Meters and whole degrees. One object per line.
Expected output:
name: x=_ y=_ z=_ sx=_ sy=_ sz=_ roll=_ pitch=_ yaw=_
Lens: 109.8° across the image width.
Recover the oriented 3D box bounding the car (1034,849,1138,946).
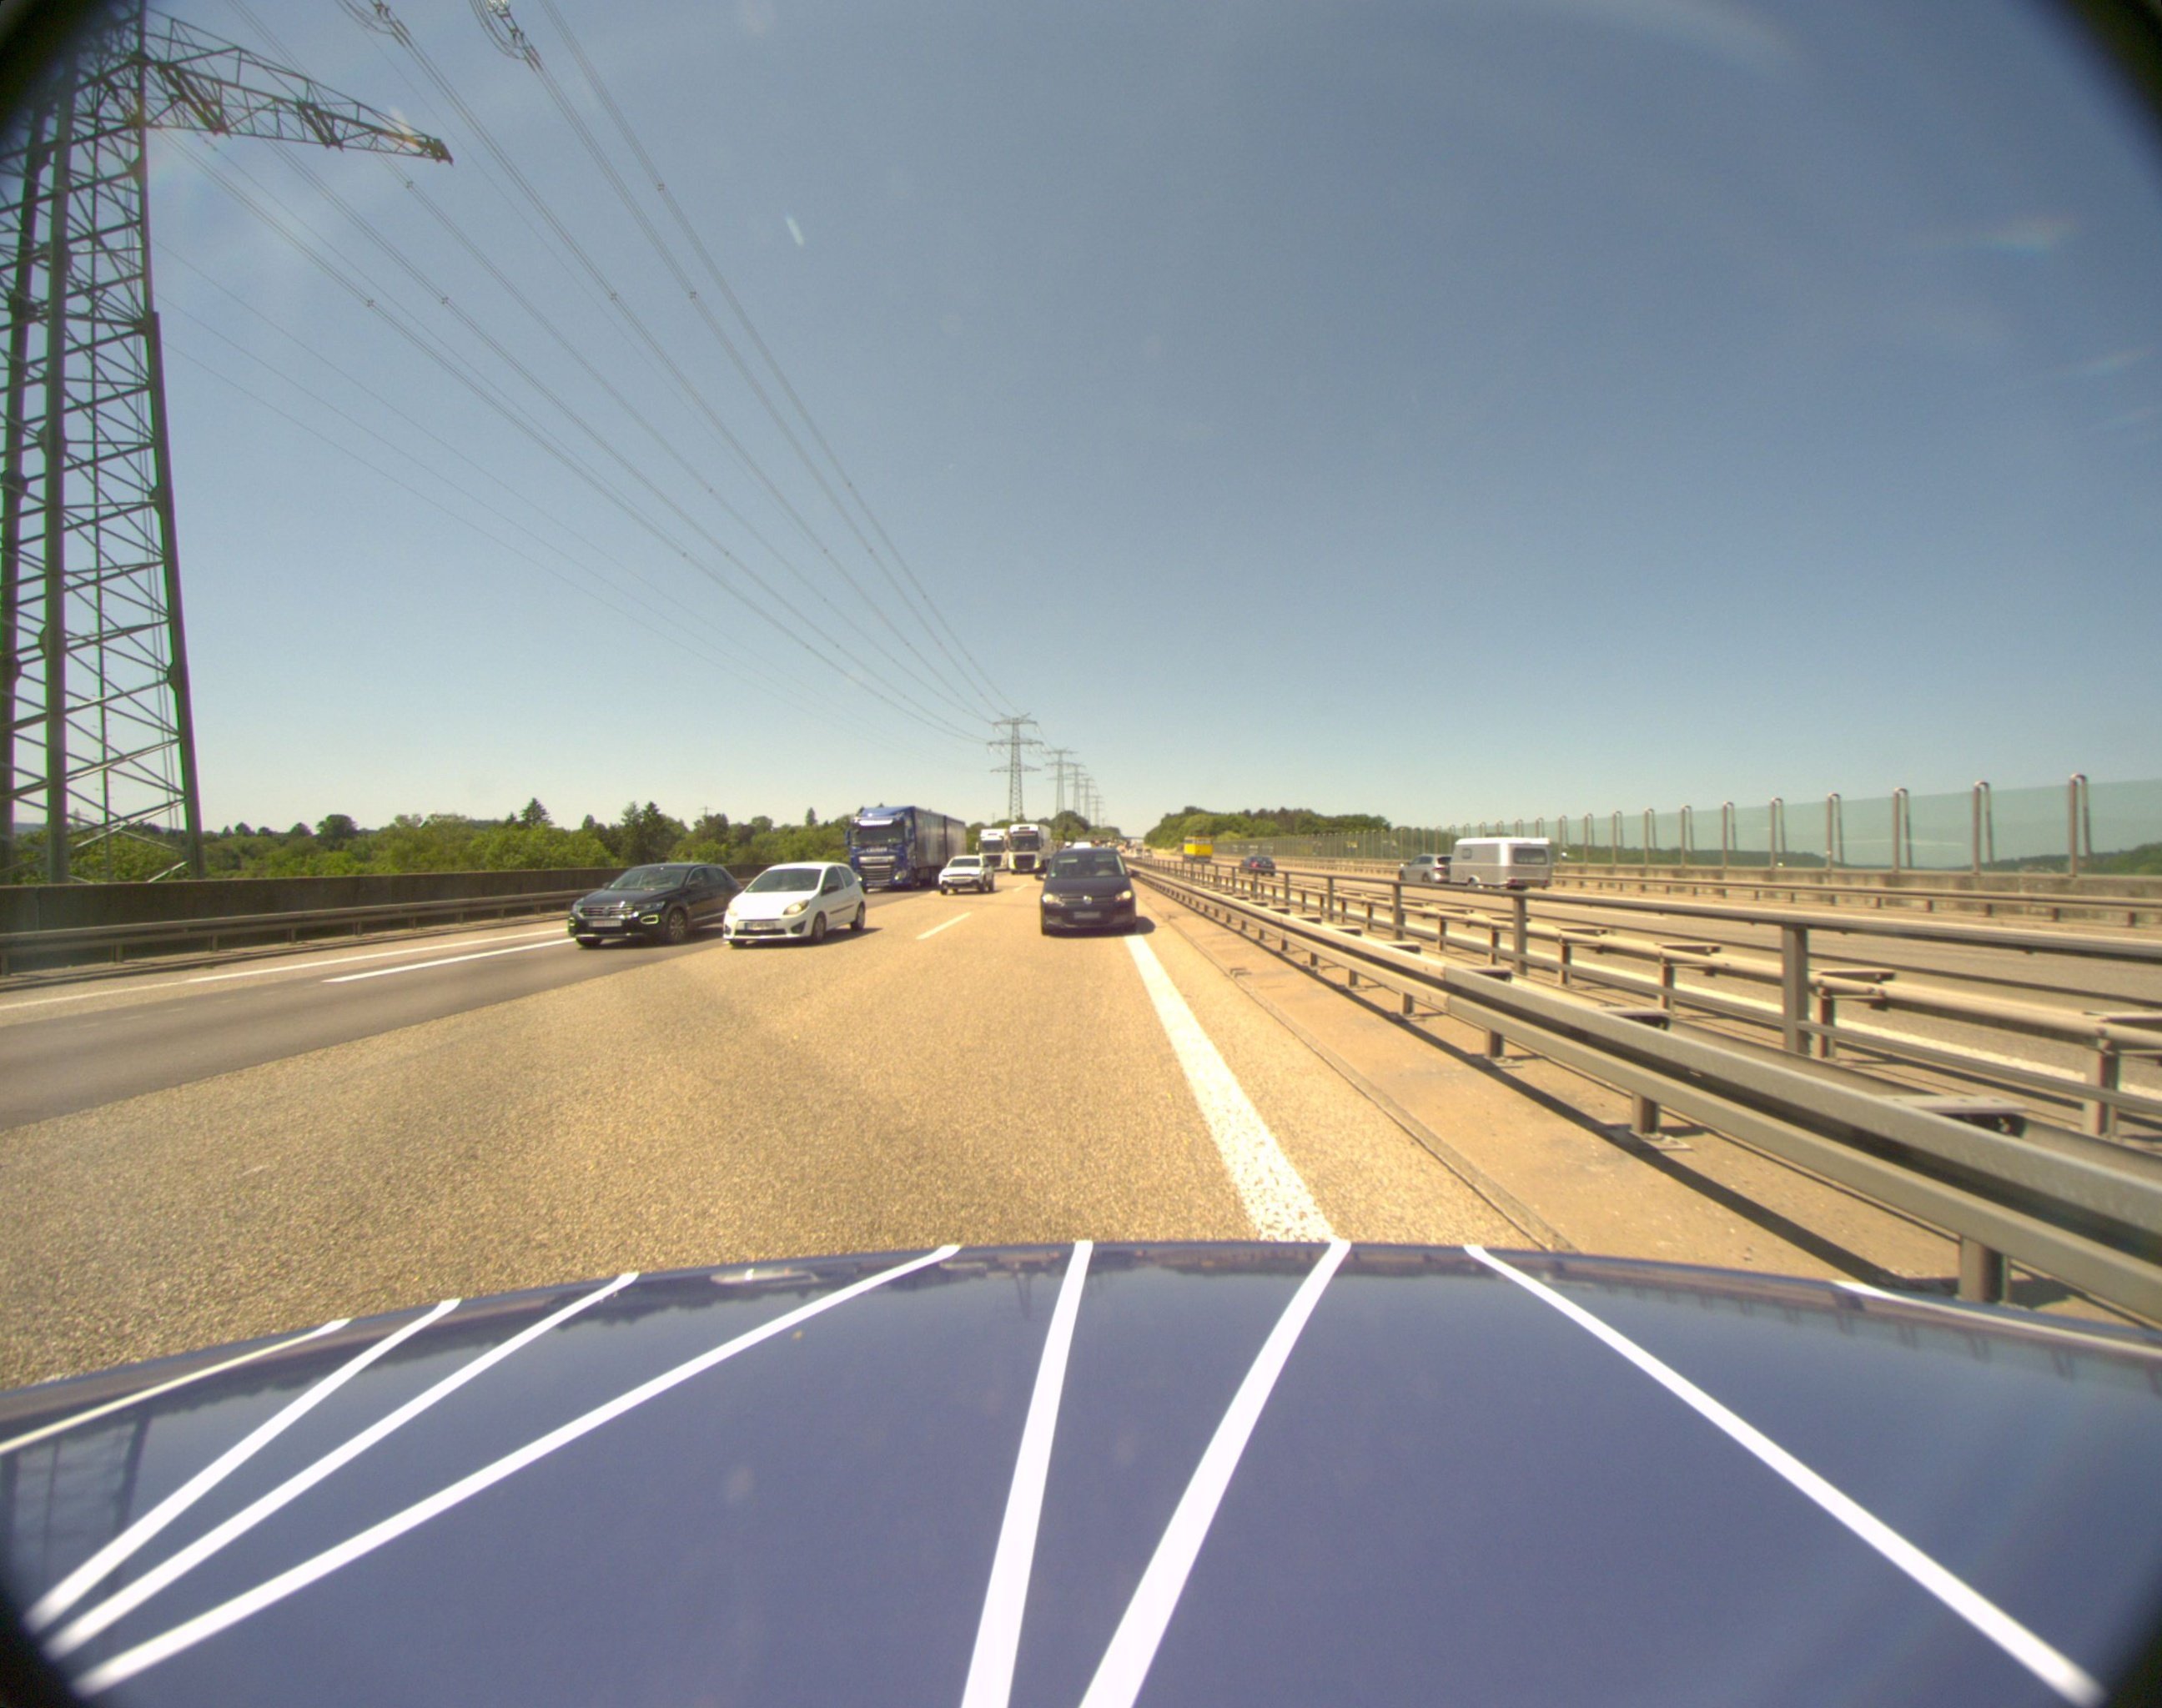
car: x=0.083 y=0.725 z=14.920 sx=1.739 sy=1.607 sz=3.911 roll=-2 pitch=0 yaw=0

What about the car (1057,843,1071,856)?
car: x=-2.654 y=-0.692 z=121.391 sx=1.998 sy=2.002 sz=3.999 roll=-2 pitch=1 yaw=1

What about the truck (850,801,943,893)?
truck: x=-8.756 y=-0.316 z=37.084 sx=2.517 sy=3.945 sz=7.926 roll=-2 pitch=0 yaw=0

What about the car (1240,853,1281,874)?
car: x=12.620 y=0.608 z=53.705 sx=1.860 sy=1.389 sz=4.675 roll=0 pitch=0 yaw=1

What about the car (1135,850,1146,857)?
car: x=11.631 y=-0.125 z=148.170 sx=1.762 sy=1.440 sz=4.286 roll=1 pitch=1 yaw=0

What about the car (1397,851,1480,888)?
car: x=16.689 y=0.697 z=35.749 sx=1.860 sy=1.536 sz=4.199 roll=1 pitch=1 yaw=0

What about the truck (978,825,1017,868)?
truck: x=-8.008 y=-0.747 z=73.426 sx=2.914 sy=3.870 sz=6.739 roll=-2 pitch=1 yaw=0

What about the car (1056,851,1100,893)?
car: x=-0.131 y=0.690 z=31.757 sx=1.685 sy=1.607 sz=3.642 roll=-2 pitch=0 yaw=0

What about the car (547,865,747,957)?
car: x=-8.448 y=1.027 z=15.244 sx=1.709 sy=1.497 sz=3.888 roll=-2 pitch=0 yaw=0

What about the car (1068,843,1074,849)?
car: x=-3.155 y=-2.499 z=235.227 sx=1.701 sy=1.599 sz=3.639 roll=-2 pitch=1 yaw=1

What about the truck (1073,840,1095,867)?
truck: x=0.353 y=-0.084 z=80.546 sx=2.100 sy=2.700 sz=5.864 roll=-2 pitch=1 yaw=1

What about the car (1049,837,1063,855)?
car: x=-4.708 y=-1.623 z=145.072 sx=2.273 sy=3.304 sz=6.288 roll=-2 pitch=1 yaw=0

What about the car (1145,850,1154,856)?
car: x=15.720 y=-0.287 z=174.866 sx=1.767 sy=1.374 sz=4.078 roll=1 pitch=0 yaw=0

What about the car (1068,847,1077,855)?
car: x=-1.641 y=-0.587 z=153.677 sx=1.701 sy=1.599 sz=3.639 roll=-2 pitch=1 yaw=1

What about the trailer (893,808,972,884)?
trailer: x=-8.803 y=-0.520 z=46.487 sx=2.543 sy=3.971 sz=10.883 roll=-2 pitch=1 yaw=0

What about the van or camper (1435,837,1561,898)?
van or camper: x=16.686 y=0.451 z=30.810 sx=1.999 sy=2.199 sz=5.536 roll=1 pitch=1 yaw=0

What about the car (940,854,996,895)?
car: x=-4.589 y=0.806 z=31.431 sx=1.722 sy=1.526 sz=3.753 roll=-2 pitch=0 yaw=0

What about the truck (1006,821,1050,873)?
truck: x=-4.215 y=-0.615 z=61.900 sx=2.914 sy=3.870 sz=6.739 roll=-2 pitch=1 yaw=0

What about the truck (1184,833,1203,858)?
truck: x=18.484 y=-1.437 z=125.450 sx=2.420 sy=4.035 sz=5.542 roll=1 pitch=1 yaw=1

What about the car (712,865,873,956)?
car: x=-5.410 y=0.987 z=14.747 sx=1.583 sy=1.432 sz=3.630 roll=-2 pitch=0 yaw=2

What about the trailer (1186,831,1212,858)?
trailer: x=18.309 y=-1.410 z=118.648 sx=2.428 sy=4.040 sz=13.802 roll=0 pitch=0 yaw=2

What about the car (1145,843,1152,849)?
car: x=22.301 y=-2.626 z=250.193 sx=2.021 sy=2.002 sz=3.968 roll=-2 pitch=1 yaw=1
